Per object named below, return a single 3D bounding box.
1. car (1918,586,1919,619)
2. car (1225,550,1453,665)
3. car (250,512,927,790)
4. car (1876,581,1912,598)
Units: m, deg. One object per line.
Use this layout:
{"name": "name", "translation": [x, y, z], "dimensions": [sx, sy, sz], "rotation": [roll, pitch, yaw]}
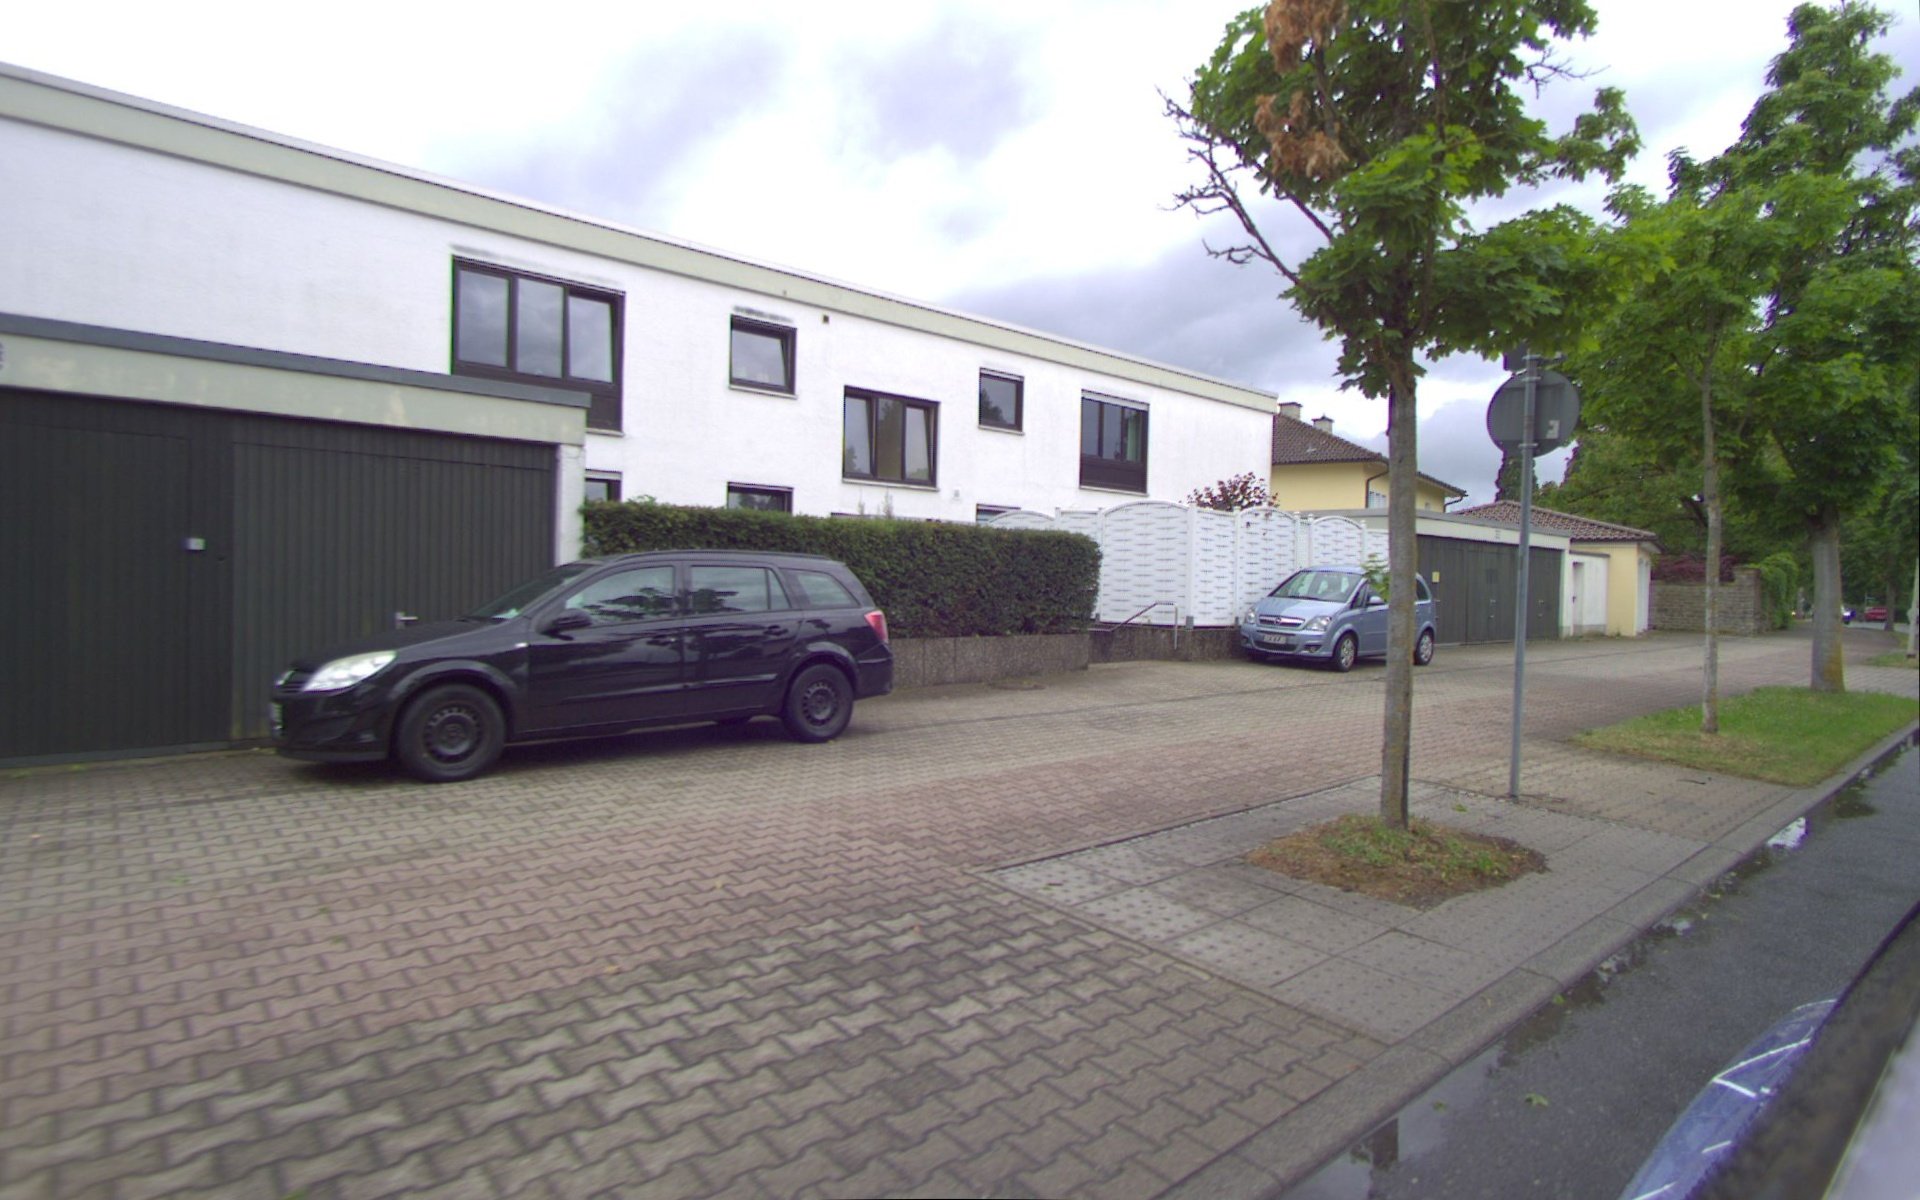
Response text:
{"name": "car", "translation": [74.237, 0.219, 76.268], "dimensions": [1.986, 2.593, 5.171], "rotation": [2, 1, 33]}
{"name": "car", "translation": [6.226, 0.072, 16.459], "dimensions": [3.929, 1.630, 1.748], "rotation": [0, 2, -40]}
{"name": "car", "translation": [-2.559, 0.238, 7.648], "dimensions": [4.463, 1.516, 1.775], "rotation": [0, 2, -40]}
{"name": "car", "translation": [91.947, -1.023, 99.696], "dimensions": [1.835, 1.484, 4.200], "rotation": [1, 0, 32]}
